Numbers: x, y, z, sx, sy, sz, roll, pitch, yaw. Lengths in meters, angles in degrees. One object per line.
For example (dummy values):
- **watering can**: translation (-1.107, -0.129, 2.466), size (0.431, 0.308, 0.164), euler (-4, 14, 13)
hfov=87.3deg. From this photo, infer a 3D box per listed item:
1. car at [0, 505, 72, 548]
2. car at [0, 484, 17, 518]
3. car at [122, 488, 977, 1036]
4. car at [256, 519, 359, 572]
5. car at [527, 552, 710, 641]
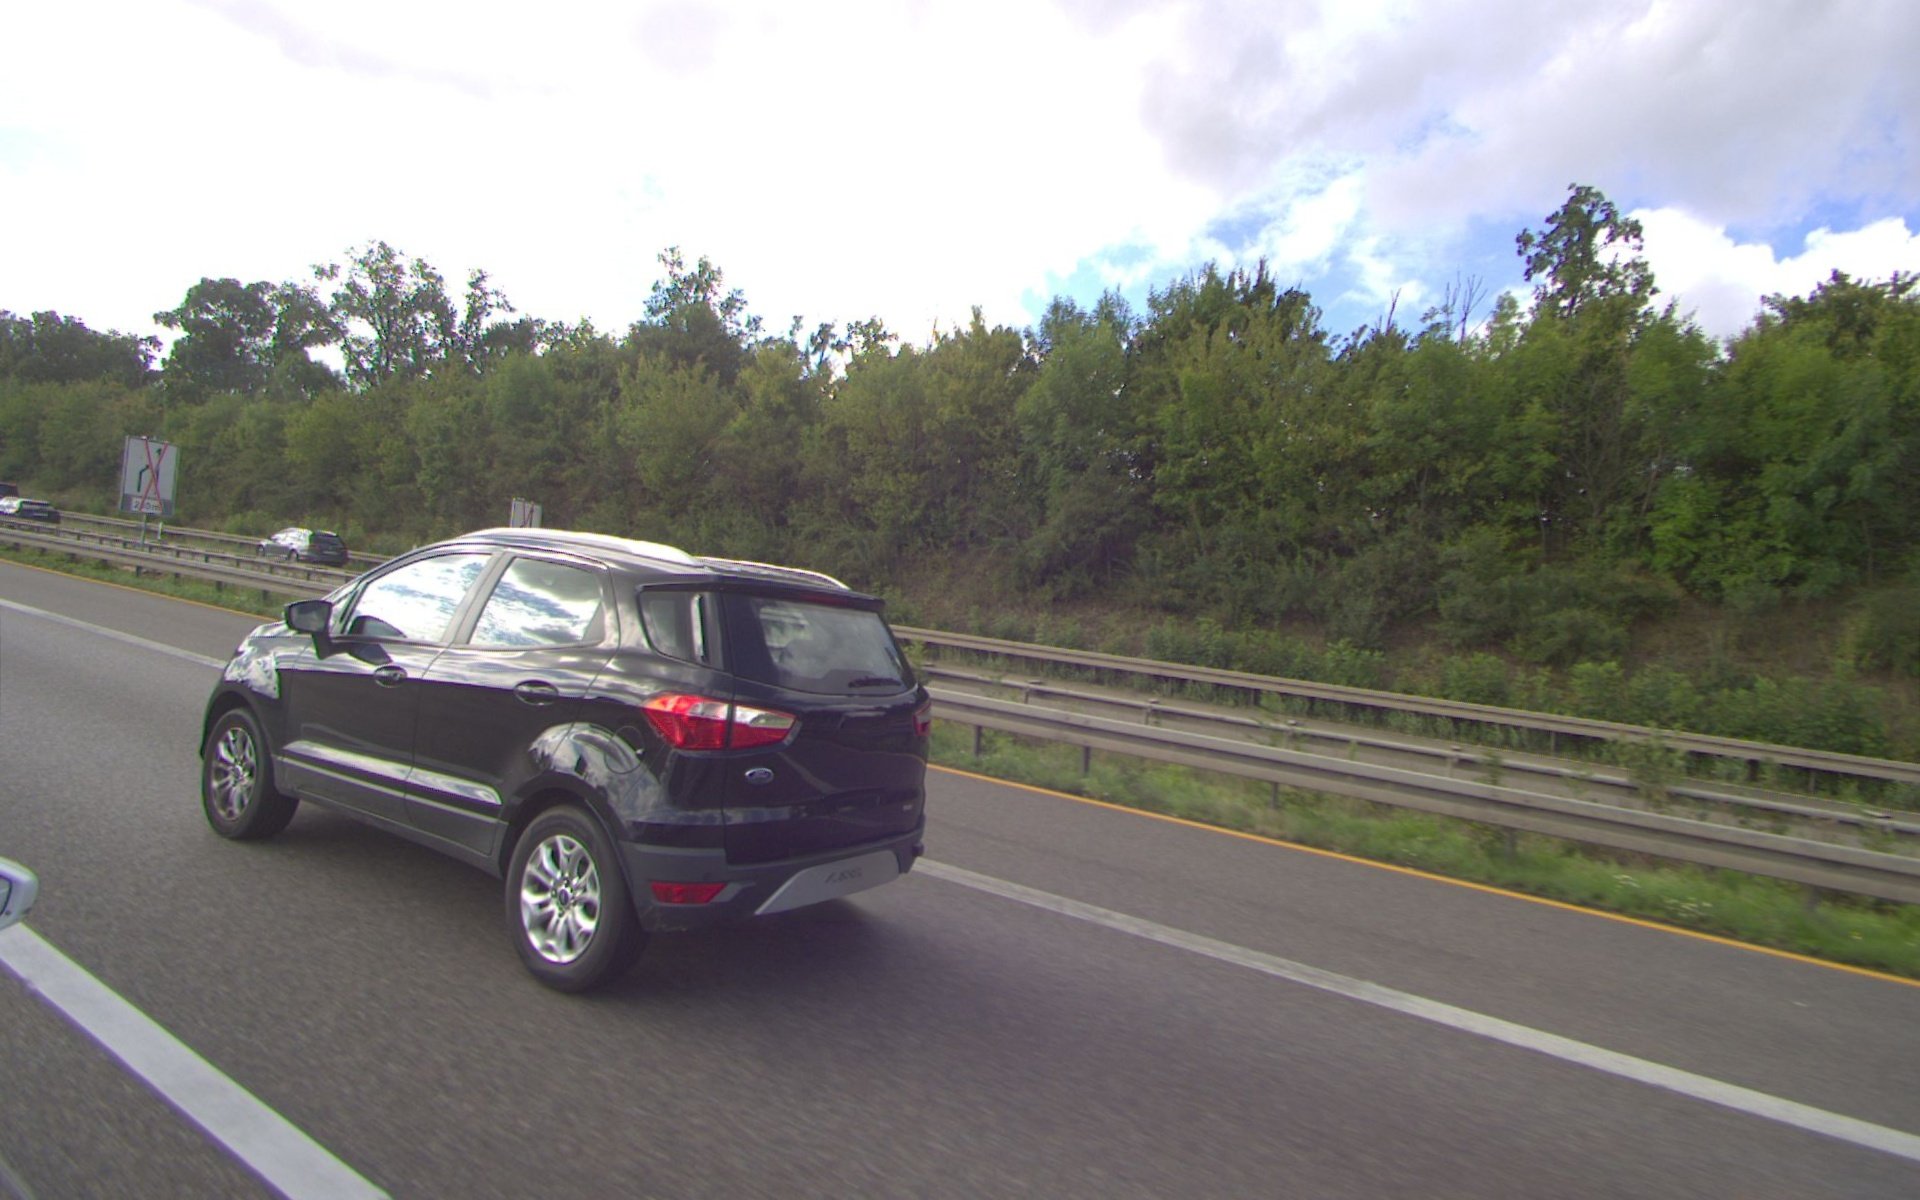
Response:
- **car**: translation (-42.496, -3.379, 45.947), size (4.119, 1.564, 1.598), euler (6, -1, 30)
- **car**: translation (-57.209, -5.964, 59.038), size (3.760, 1.826, 1.598), euler (6, 0, 30)
- **car**: translation (-2.157, 0.463, 4.956), size (4.045, 1.583, 1.700), euler (7, 0, 31)
- **car**: translation (-25.701, -2.149, 39.597), size (3.934, 1.615, 1.757), euler (6, -1, 32)
- **car**: translation (-8.310, -0.097, 24.396), size (4.234, 1.671, 1.847), euler (7, 2, 32)
